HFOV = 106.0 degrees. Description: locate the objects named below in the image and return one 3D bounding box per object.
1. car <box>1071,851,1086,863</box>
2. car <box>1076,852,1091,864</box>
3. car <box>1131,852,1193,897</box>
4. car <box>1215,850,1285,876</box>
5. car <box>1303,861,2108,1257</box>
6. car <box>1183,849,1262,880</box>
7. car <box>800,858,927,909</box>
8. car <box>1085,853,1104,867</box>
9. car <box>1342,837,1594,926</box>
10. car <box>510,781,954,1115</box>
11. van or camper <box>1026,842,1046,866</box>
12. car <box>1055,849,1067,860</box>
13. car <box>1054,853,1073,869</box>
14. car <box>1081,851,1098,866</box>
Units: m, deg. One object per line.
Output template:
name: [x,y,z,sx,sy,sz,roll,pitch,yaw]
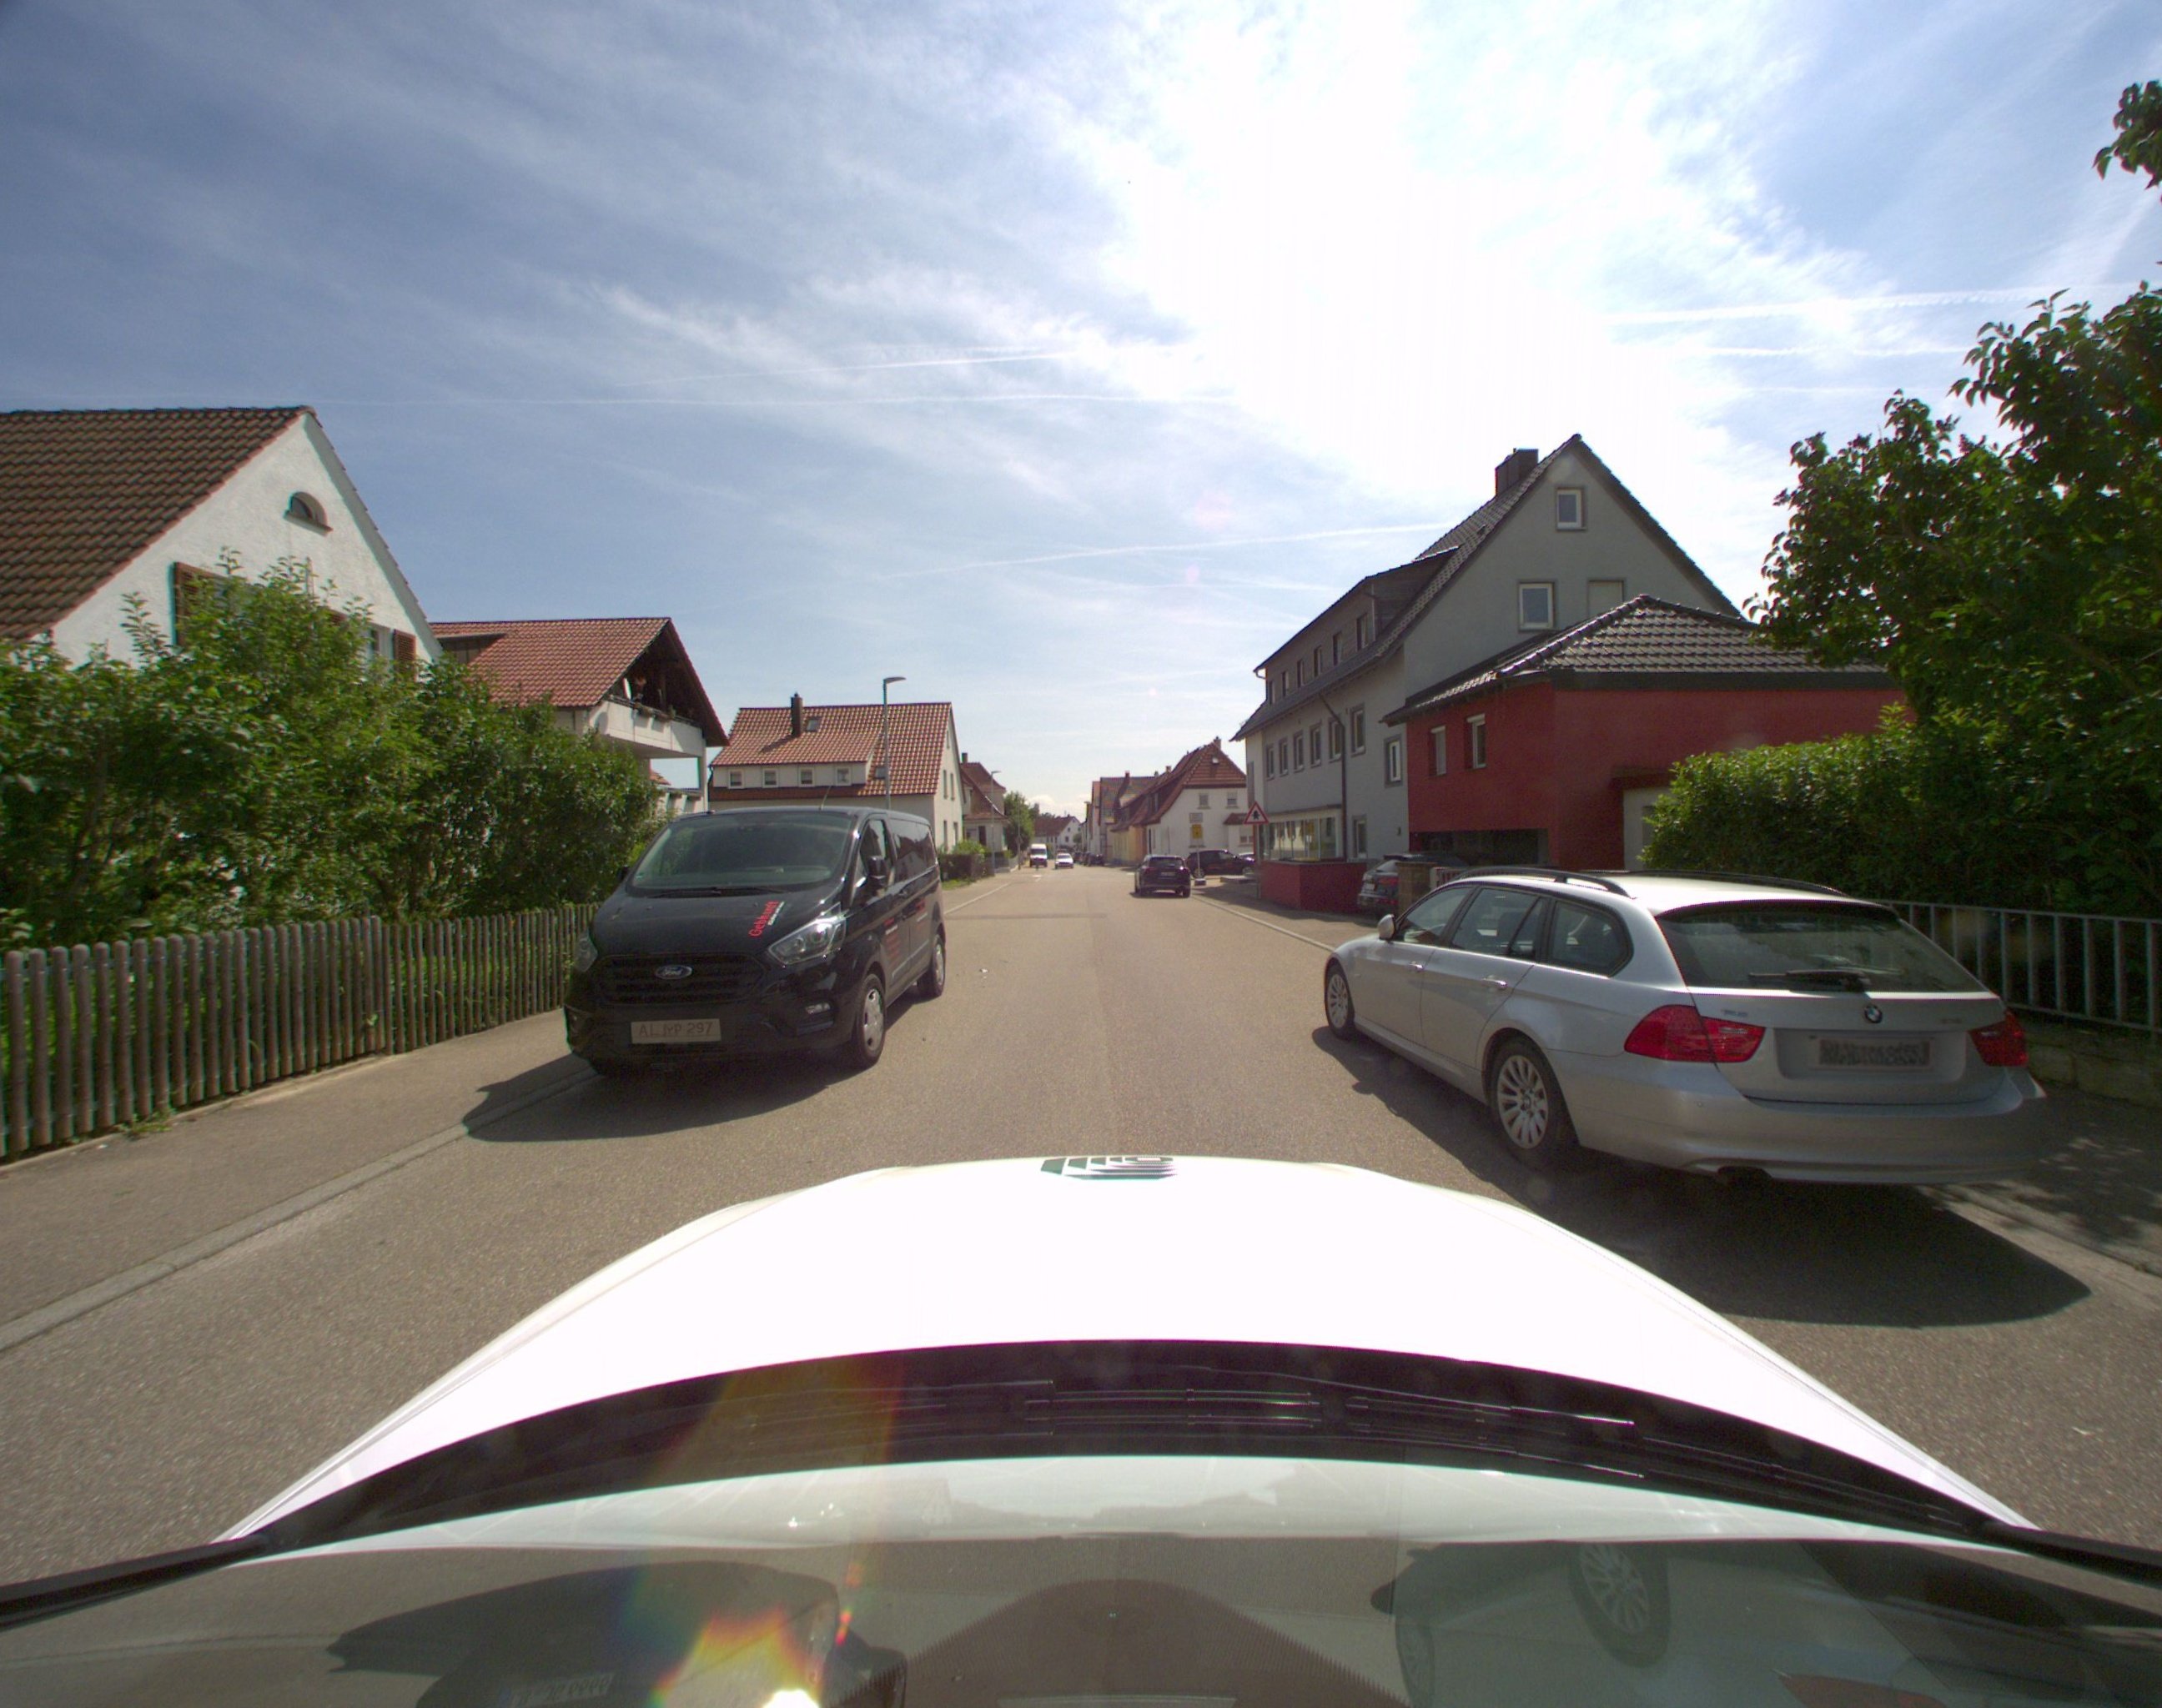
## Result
car: [-0.423,0.421,119.885,1.873,1.700,4.175,-1,0,-5]
car: [0.276,0.515,104.685,1.671,1.559,3.034,-1,0,-6]
car: [2.925,0.710,30.179,1.757,1.527,4.403,0,0,-1]
car: [10.354,0.522,50.076,3.972,1.504,1.695,-1,0,2]
car: [2.965,0.787,5.260,1.746,1.421,4.418,1,0,-2]
car: [7.947,0.575,46.111,4.274,1.653,1.850,-1,0,4]
car: [-6.799,0.868,26.074,1.813,1.432,4.582,-1,0,16]
car: [1.449,0.611,87.191,1.608,1.431,3.747,-1,0,-5]
car: [7.882,0.526,16.875,4.356,1.668,1.875,-1,0,-3]
car: [-2.475,0.560,7.290,1.963,1.951,4.693,-2,0,-1]
van or camper: [-5.102,0.008,92.255,2.180,2.571,6.798,0,0,-4]
car: [-4.087,0.110,164.939,2.120,2.158,4.739,-2,0,3]
car: [-1.689,0.665,79.245,1.748,1.438,4.585,-1,0,-1]
car: [0.971,0.488,92.801,1.724,1.600,4.248,-1,0,-3]
